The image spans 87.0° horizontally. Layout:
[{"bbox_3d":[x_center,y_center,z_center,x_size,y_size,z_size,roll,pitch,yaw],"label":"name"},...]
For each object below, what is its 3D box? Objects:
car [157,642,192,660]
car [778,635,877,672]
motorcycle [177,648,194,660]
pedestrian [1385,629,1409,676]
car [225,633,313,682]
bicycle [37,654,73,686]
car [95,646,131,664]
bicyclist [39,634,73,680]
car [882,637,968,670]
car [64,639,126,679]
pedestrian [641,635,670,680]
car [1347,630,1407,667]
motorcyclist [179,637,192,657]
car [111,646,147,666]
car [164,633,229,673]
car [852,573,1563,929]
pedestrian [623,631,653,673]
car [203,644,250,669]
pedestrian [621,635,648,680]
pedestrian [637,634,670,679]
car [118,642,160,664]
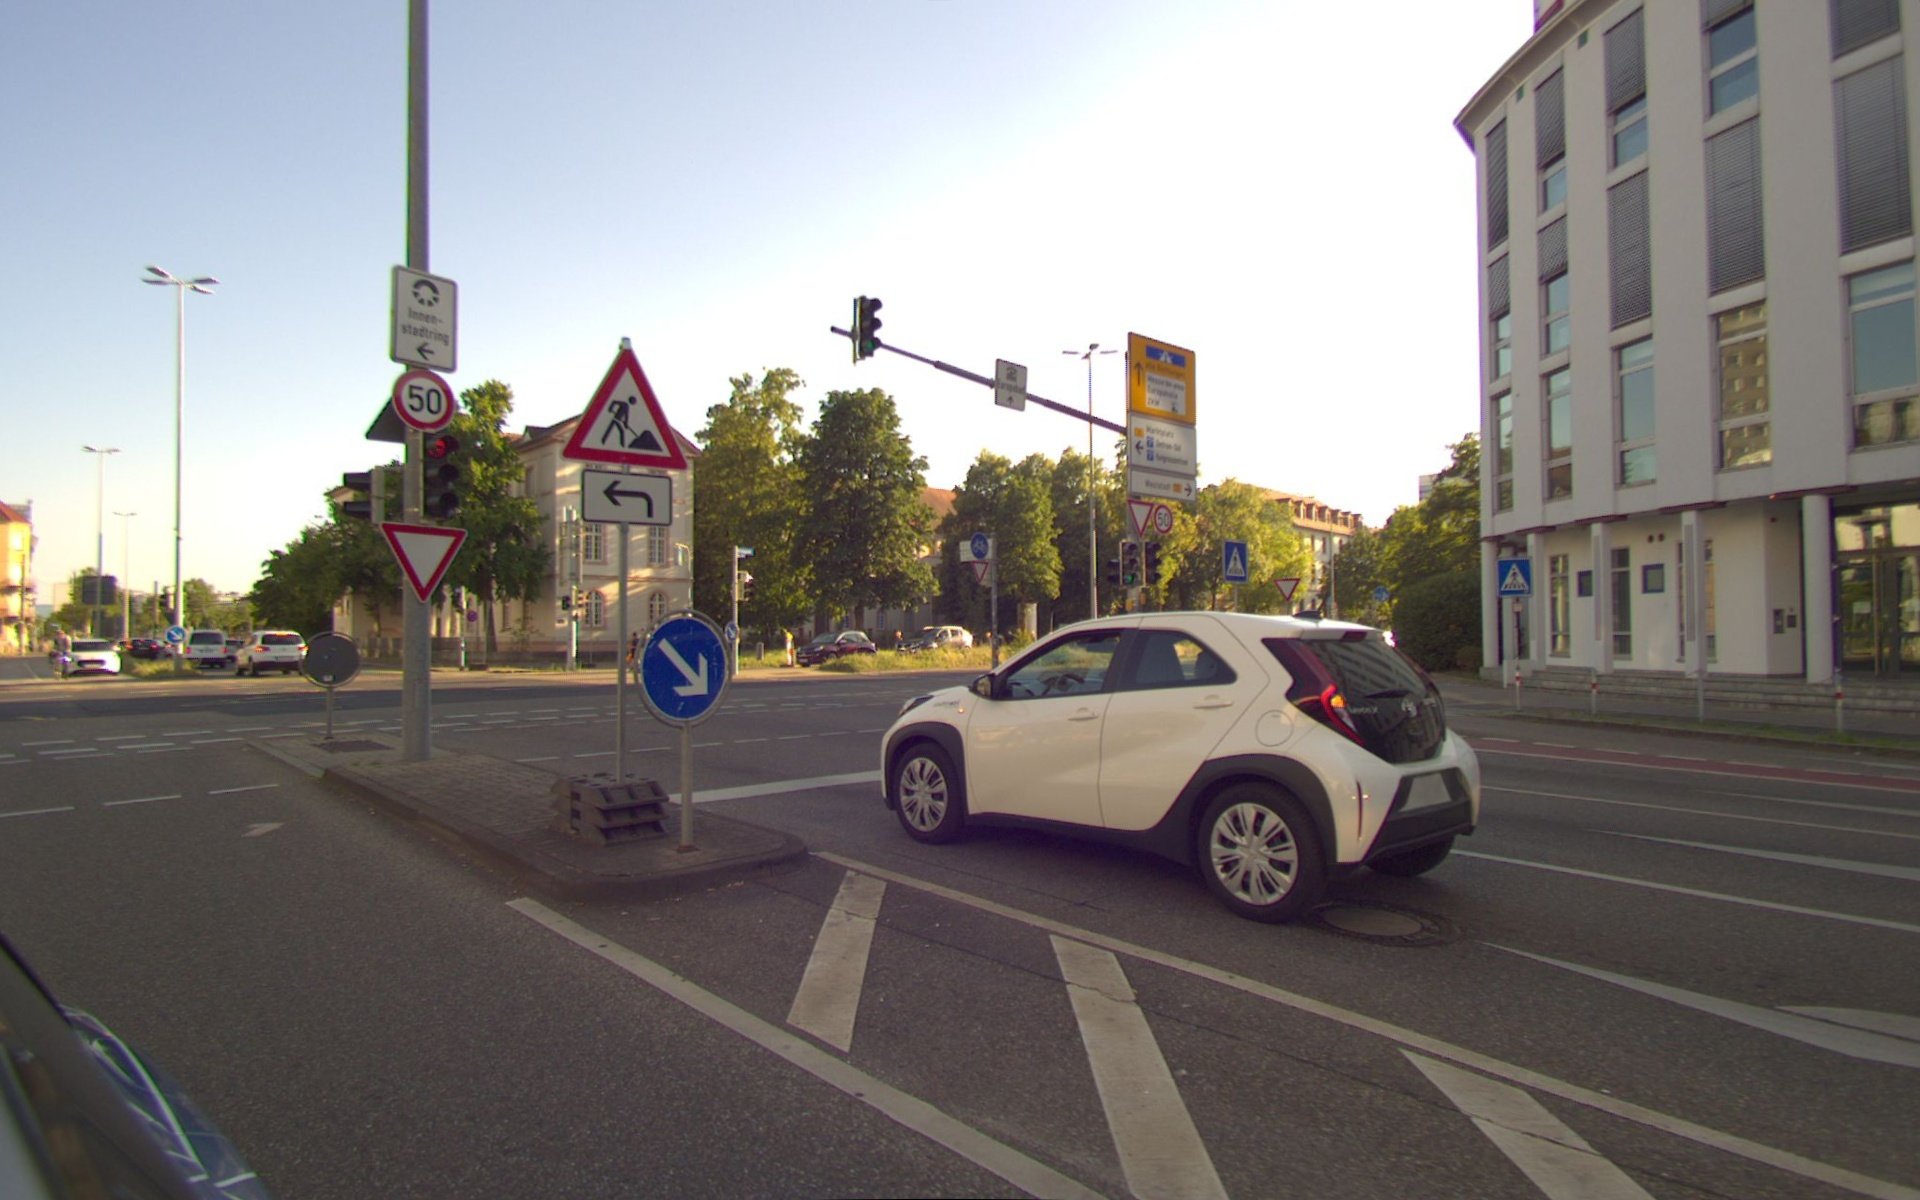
[{"bbox_3d":[-64.176,4.157,82.661,1.740,1.474,4.295,2,-3,-45],"label":"car"},{"bbox_3d":[-5.419,2.180,41.647,2.000,1.457,3.596,-3,-3,42],"label":"car"},{"bbox_3d":[-57.152,3.965,74.679,2.161,0.886,0.631,-3,-3,43],"label":"motorcycle"},{"bbox_3d":[16.895,2.039,39.125,0.697,1.804,0.476,-2,-3,36],"label":"pedestrian"},{"bbox_3d":[-25.966,2.127,37.951,4.441,1.719,1.807,-3,-3,43],"label":"car"},{"bbox_3d":[-32.595,2.509,36.446,0.822,1.116,2.082,2,-3,-45],"label":"bicycle"},{"bbox_3d":[-74.222,4.800,88.648,2.019,1.474,4.295,2,-3,-45],"label":"car"},{"bbox_3d":[-32.584,2.043,36.480,1.024,1.616,0.826,-3,-3,45],"label":"bicyclist"},{"bbox_3d":[-1.571,2.430,46.492,2.000,1.457,3.596,-3,-3,42],"label":"car"},{"bbox_3d":[-34.799,2.354,40.685,1.739,1.510,3.711,1,-3,-43],"label":"car"},{"bbox_3d":[-11.669,2.199,38.803,0.882,1.663,0.670,-2,-3,38],"label":"pedestrian"},{"bbox_3d":[20.337,2.340,49.282,1.994,1.741,3.955,-2,-3,33],"label":"car"},{"bbox_3d":[-57.165,3.456,74.720,0.756,1.417,0.612,-3,-3,43],"label":"motorcyclist"},{"bbox_3d":[-64.090,4.275,78.028,1.740,1.474,4.295,2,-3,-45],"label":"car"},{"bbox_3d":[-37.651,2.613,49.880,4.948,1.861,1.807,-3,-3,44],"label":"car"},{"bbox_3d":[1.238,0.708,6.250,1.806,1.472,3.905,1,-3,-43],"label":"car"},{"bbox_3d":[-13.273,2.135,41.704,1.083,1.721,0.670,-2,-3,38],"label":"pedestrian"},{"bbox_3d":[-46.174,3.525,63.702,1.740,1.474,4.295,2,-3,-45],"label":"car"},{"bbox_3d":[-12.239,2.151,38.050,0.889,1.663,0.613,-2,-3,38],"label":"pedestrian"},{"bbox_3d":[-12.823,2.345,42.371,1.168,1.863,0.810,-2,-3,38],"label":"pedestrian"},{"bbox_3d":[-55.277,3.557,68.141,1.740,1.474,4.295,2,-3,-45],"label":"car"}]
